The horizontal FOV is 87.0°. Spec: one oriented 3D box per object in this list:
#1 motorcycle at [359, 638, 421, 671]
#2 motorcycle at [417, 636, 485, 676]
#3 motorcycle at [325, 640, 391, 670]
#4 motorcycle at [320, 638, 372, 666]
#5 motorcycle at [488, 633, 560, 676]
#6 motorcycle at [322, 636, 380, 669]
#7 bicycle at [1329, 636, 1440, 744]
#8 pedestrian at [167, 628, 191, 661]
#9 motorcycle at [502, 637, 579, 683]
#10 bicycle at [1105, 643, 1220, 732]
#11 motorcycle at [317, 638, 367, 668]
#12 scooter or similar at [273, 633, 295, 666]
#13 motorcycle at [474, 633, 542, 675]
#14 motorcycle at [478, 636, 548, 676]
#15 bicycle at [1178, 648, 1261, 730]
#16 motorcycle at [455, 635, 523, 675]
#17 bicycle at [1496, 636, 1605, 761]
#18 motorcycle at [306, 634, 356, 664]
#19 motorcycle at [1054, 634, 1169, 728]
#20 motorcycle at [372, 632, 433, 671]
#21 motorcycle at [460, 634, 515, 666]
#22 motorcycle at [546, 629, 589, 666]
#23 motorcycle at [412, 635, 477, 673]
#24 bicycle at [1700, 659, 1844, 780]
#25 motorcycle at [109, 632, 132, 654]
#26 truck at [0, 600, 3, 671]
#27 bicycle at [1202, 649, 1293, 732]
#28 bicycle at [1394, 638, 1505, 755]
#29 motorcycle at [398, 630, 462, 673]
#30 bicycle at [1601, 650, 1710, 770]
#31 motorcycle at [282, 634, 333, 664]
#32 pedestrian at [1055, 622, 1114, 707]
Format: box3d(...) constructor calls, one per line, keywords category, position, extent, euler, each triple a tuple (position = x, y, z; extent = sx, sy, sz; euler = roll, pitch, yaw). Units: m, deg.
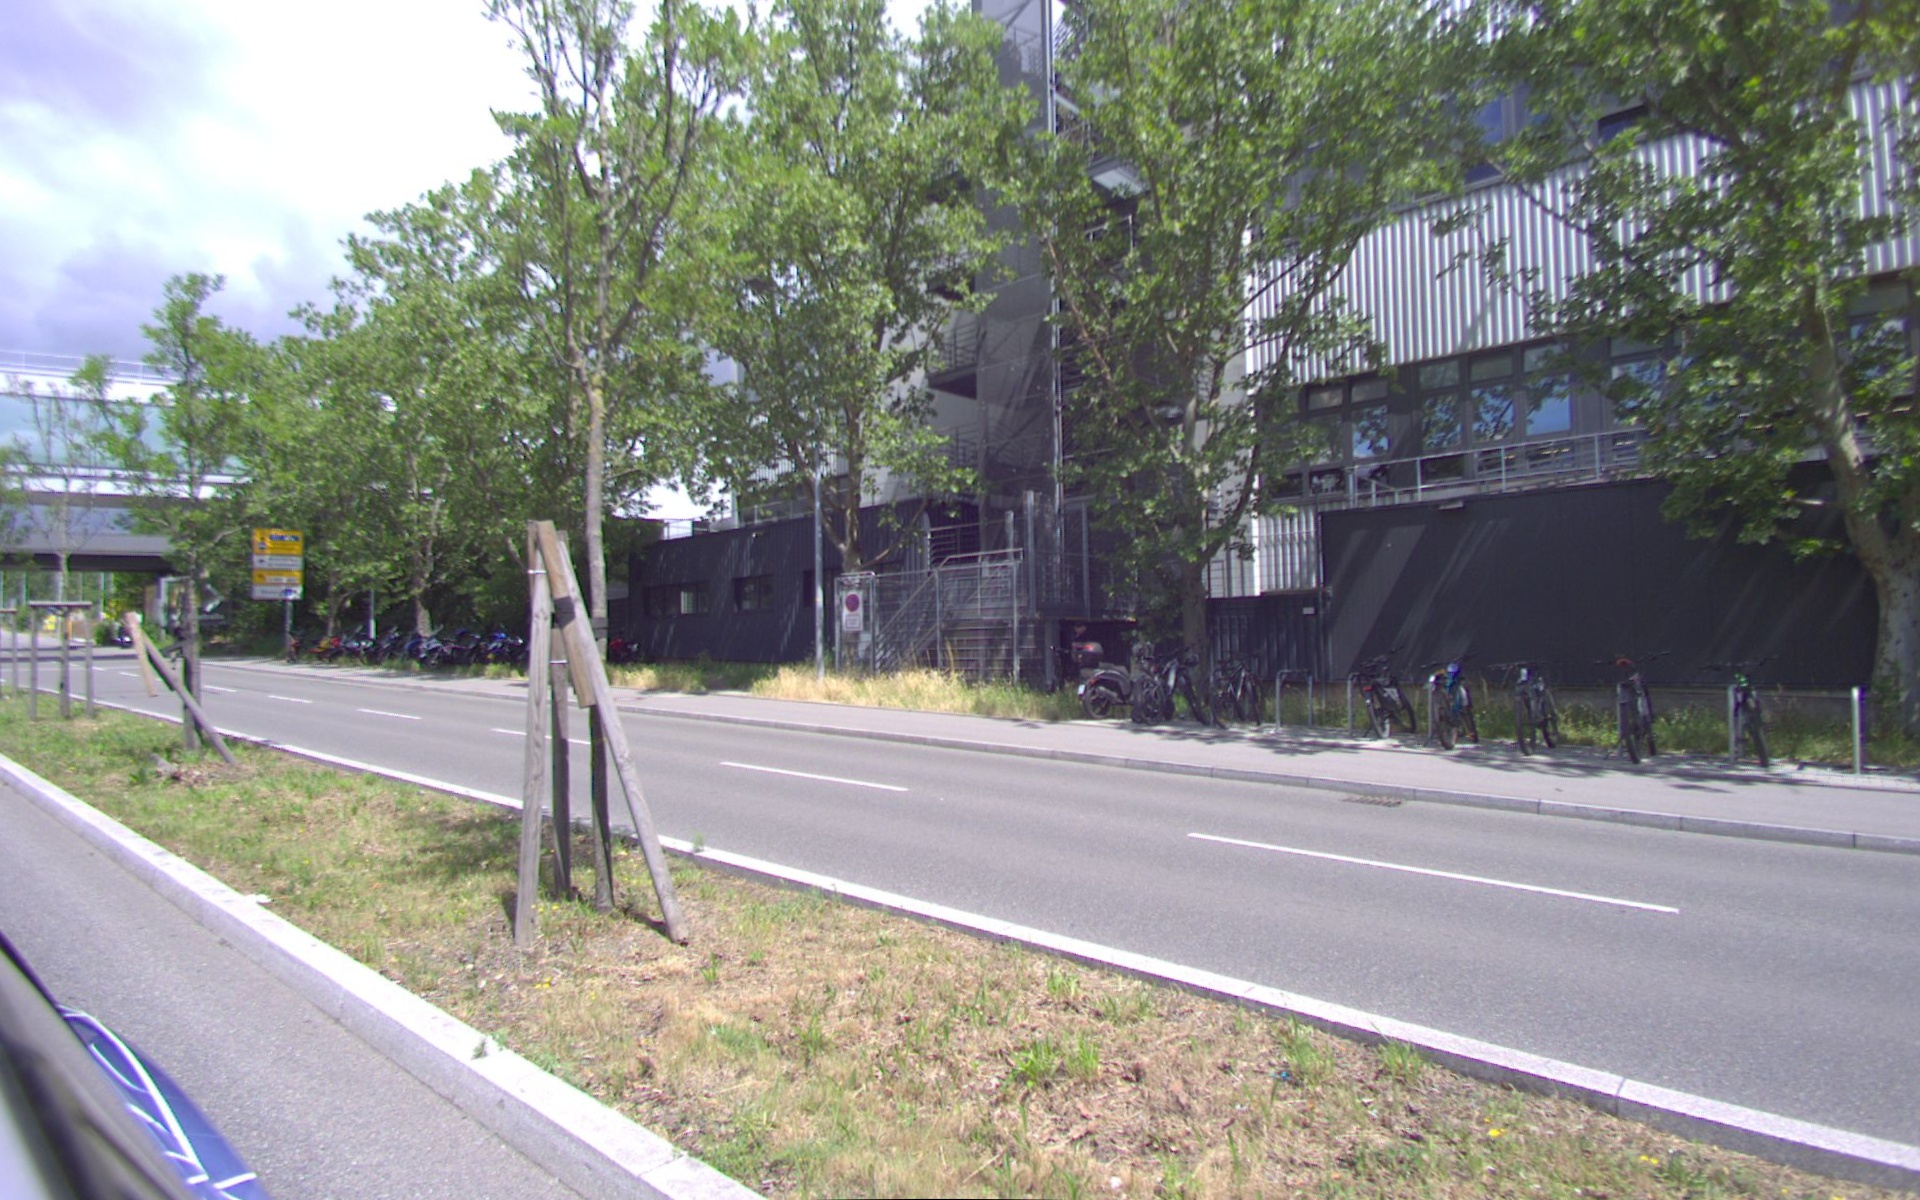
box3d(category="motorcycle", position=(-21.433, 2.032, 38.076), extent=(1.904, 1.124, 0.924), euler=(-2, -1, -22))
box3d(category="motorcycle", position=(-16.828, 1.837, 33.462), extent=(1.854, 1.188, 0.816), euler=(-2, -1, -40))
box3d(category="motorcycle", position=(-23.034, 2.107, 38.755), extent=(0.917, 1.124, 1.918), euler=(0, -3, 29))
box3d(category="motorcycle", position=(-24.536, 2.081, 40.450), extent=(0.776, 1.041, 1.574), euler=(-4, -1, 42))
box3d(category="motorcycle", position=(-13.197, 1.635, 30.644), extent=(1.855, 1.195, 0.731), euler=(-2, -1, -41))
box3d(category="motorcycle", position=(-23.847, 2.044, 39.646), extent=(0.849, 1.188, 1.734), euler=(-3, -1, 29))
box3d(category="bicycle", position=(5.747, 1.158, 13.635), extent=(0.806, 1.292, 2.112), euler=(-2, -2, 39))
box3d(category="pedestrian", position=(-39.453, 2.252, 51.097), extent=(0.812, 1.624, 0.760), euler=(-1, 0, 40))
box3d(category="motorcycle", position=(-11.970, 1.694, 28.883), extent=(1.854, 1.182, 0.746), euler=(-2, -1, -40))
box3d(category="bicycle", position=(3.082, 1.273, 15.261), extent=(0.806, 1.189, 2.112), euler=(-2, -2, 39))
box3d(category="motorcycle", position=(-25.385, 2.155, 41.563), extent=(0.776, 1.131, 1.574), euler=(-4, -1, 42))
box3d(category="scooter or similar", position=(-26.673, 1.954, 39.921), extent=(1.479, 1.245, 0.350), euler=(0, 0, 41))
box3d(category="motorcycle", position=(-14.528, 1.715, 32.532), extent=(0.655, 1.219, 1.857), euler=(-4, -1, 44))
box3d(category="motorcycle", position=(-13.947, 1.736, 31.582), extent=(1.852, 1.093, 0.796), euler=(-2, -1, -34))
box3d(category="bicycle", position=(3.889, 1.285, 15.058), extent=(0.422, 1.083, 1.905), euler=(-2, -2, 39))
box3d(category="motorcycle", position=(-15.360, 1.777, 33.056), extent=(0.698, 1.188, 1.857), euler=(-4, -1, 44))
box3d(category="bicycle", position=(6.930, 1.089, 11.830), extent=(0.806, 1.292, 1.899), euler=(-1, -1, 39))
box3d(category="motorcycle", position=(-26.291, 2.050, 42.348), extent=(0.773, 1.131, 1.579), euler=(-3, -1, 31))
box3d(category="motorcycle", position=(2.390, 1.209, 15.772), extent=(0.806, 1.319, 2.112), euler=(-2, -2, 39))
box3d(category="motorcycle", position=(-20.452, 1.886, 37.154), extent=(1.905, 1.300, 0.895), euler=(-2, -1, -29))
box3d(category="motorcycle", position=(-18.930, 1.991, 40.566), extent=(1.904, 1.124, 0.924), euler=(-2, -1, -22))
box3d(category="motorcycle", position=(-13.898, 1.692, 35.805), extent=(0.645, 1.219, 1.984), euler=(-2, -2, -45))
box3d(category="motorcycle", position=(-17.599, 1.832, 34.547), extent=(1.853, 1.188, 0.817), euler=(-2, -1, -34))
box3d(category="bicycle", position=(8.641, 1.199, 10.896), extent=(0.848, 1.014, 2.813), euler=(-2, -1, 32))
box3d(category="motorcycle", position=(-49.758, 2.525, 60.006), extent=(2.256, 1.207, 0.633), euler=(-1, 1, 40))
box3d(category="truck", position=(-40.789, 1.449, 40.687), extent=(6.450, 2.772, 2.455), euler=(-2, -2, 39))
box3d(category="bicycle", position=(4.207, 1.274, 14.709), extent=(0.497, 1.070, 2.060), euler=(-2, -2, 39))
box3d(category="bicycle", position=(6.104, 1.143, 12.571), extent=(0.806, 1.292, 1.899), euler=(-2, -2, 39))
box3d(category="motorcycle", position=(-18.601, 1.795, 35.524), extent=(1.905, 1.354, 0.867), euler=(-2, -1, -29))
box3d(category="bicycle", position=(7.627, 1.139, 11.060), extent=(0.806, 1.131, 1.899), euler=(-2, -2, 39))
box3d(category="motorcycle", position=(-28.202, 2.112, 43.757), extent=(1.721, 1.180, 0.777), euler=(-2, -1, -41))
box3d(category="pedestrian", position=(2.383, 1.218, 19.411), extent=(0.744, 1.563, 0.822), euler=(0, -2, -39))
